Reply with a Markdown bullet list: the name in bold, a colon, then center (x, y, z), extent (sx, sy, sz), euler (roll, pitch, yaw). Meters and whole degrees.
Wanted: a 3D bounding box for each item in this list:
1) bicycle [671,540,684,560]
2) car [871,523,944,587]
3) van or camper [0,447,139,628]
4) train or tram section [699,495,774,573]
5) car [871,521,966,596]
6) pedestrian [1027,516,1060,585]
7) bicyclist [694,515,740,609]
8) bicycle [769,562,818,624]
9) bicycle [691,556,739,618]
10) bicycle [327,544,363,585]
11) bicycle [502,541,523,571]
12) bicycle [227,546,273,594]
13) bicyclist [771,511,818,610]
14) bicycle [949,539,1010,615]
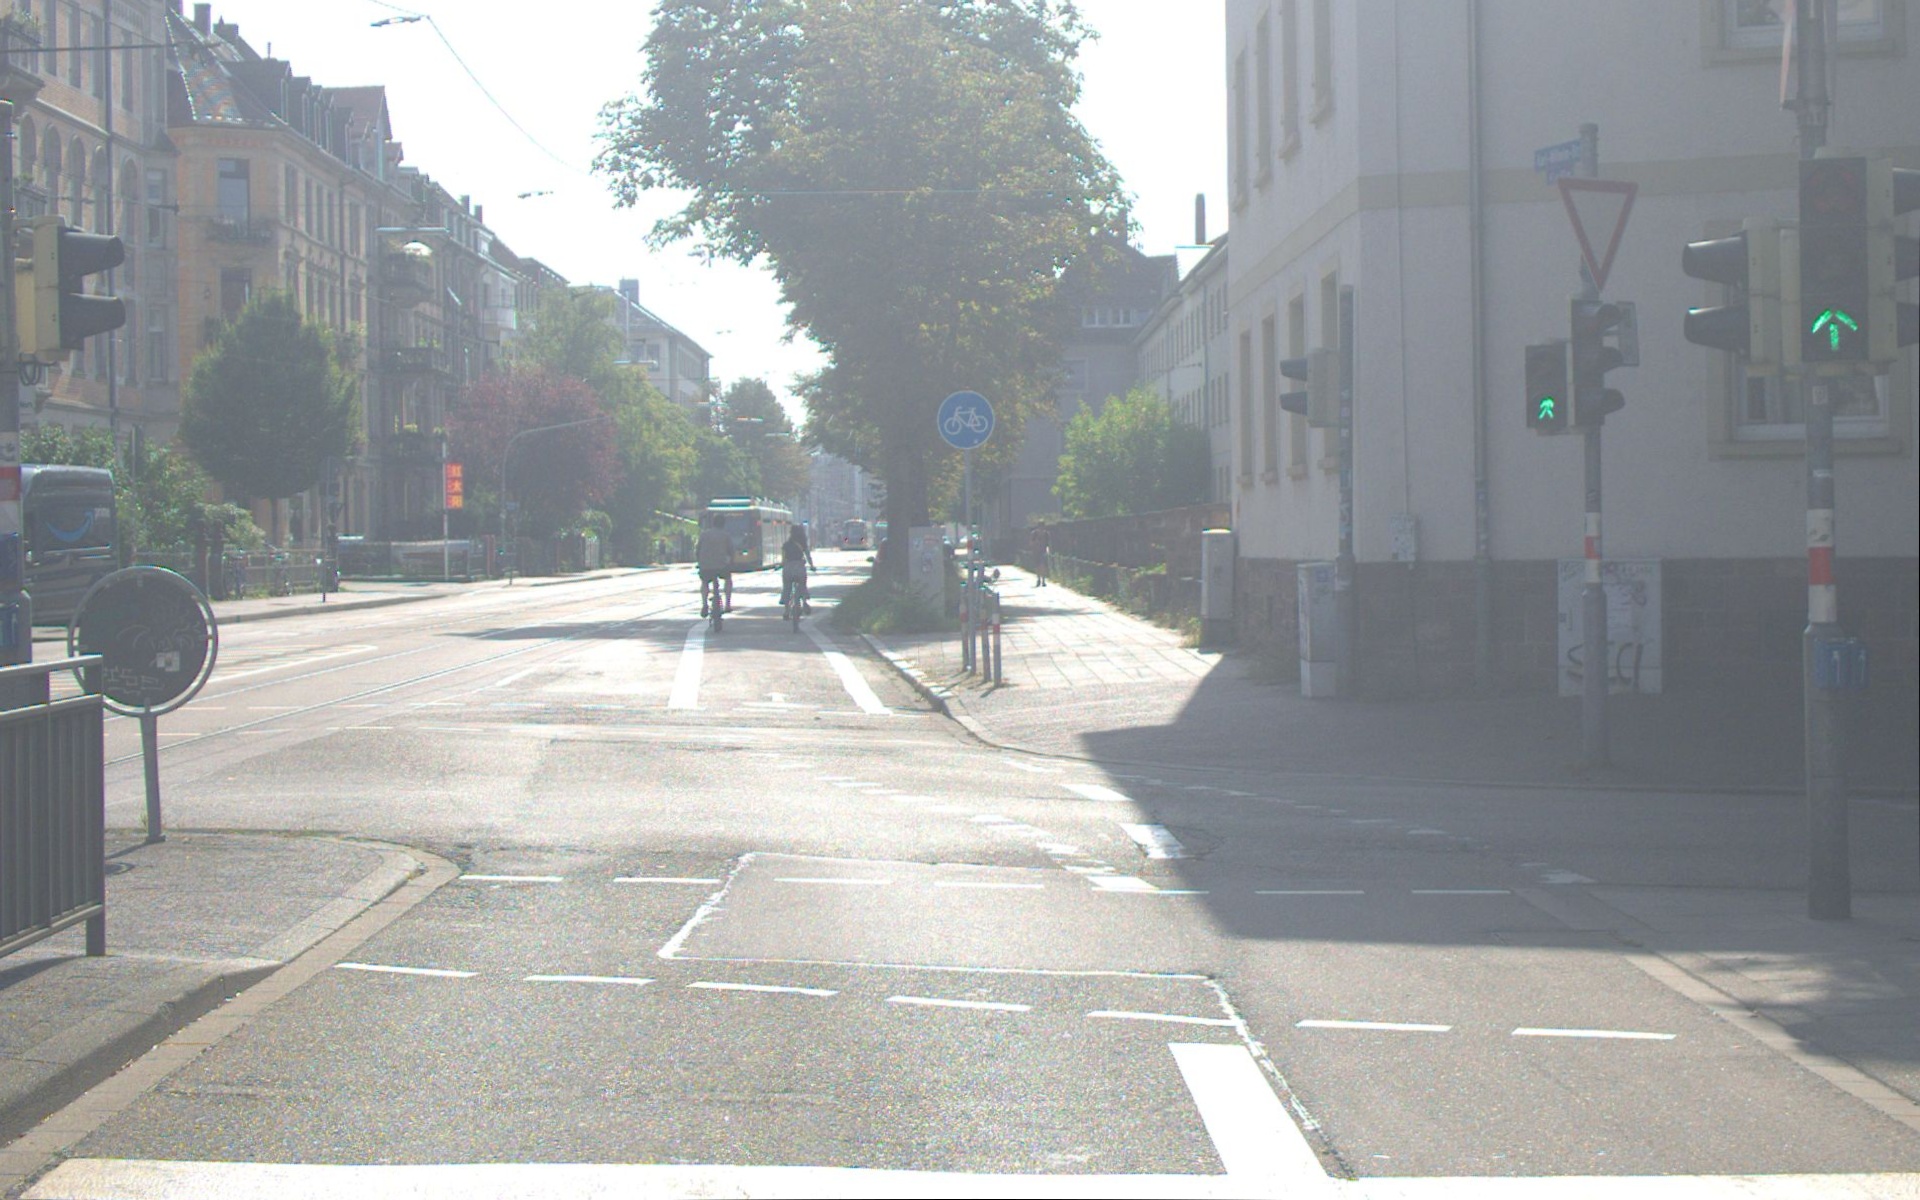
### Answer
- **bicycle**: center (-17.224, -3.034, 209.773), extent (0.561, 1.217, 2.113), euler (-1, 1, 2)
- **car**: center (-1.252, -1.090, 83.460), extent (1.645, 1.443, 4.246), euler (-2, 1, 0)
- **van or camper**: center (-14.671, -0.925, 52.691), extent (2.051, 2.635, 6.088), euler (-1, 1, 7)
- **train or tram section**: center (-10.462, -3.102, 161.979), extent (2.734, 3.493, 15.434), euler (0, 1, -1)
- **car**: center (-0.884, -0.923, 75.450), extent (1.645, 1.535, 3.841), euler (-2, 1, 5)
- **pedestrian**: center (2.112, -1.255, 86.823), extent (0.752, 1.743, 0.878), euler (0, 1, 6)
- **bicyclist**: center (-3.697, -0.583, 52.365), extent (0.626, 1.396, 0.929), euler (1, 1, -1)
- **bicycle**: center (-2.503, -0.111, 51.806), extent (0.654, 0.906, 1.775), euler (1, 1, -1)
- **bicycle**: center (-3.723, -0.204, 52.360), extent (0.626, 0.906, 1.525), euler (1, 1, -1)
- **bicycle**: center (-16.716, -0.977, 93.421), extent (0.545, 1.054, 1.839), euler (3, 1, 1)
- **bicycle**: center (-16.730, -1.665, 128.527), extent (0.508, 1.104, 2.003), euler (-1, 1, 0)
- **bicycle**: center (-16.618, -0.710, 80.463), extent (0.606, 1.054, 1.839), euler (3, 1, 1)
- **bicyclist**: center (-2.485, -0.595, 51.784), extent (0.654, 1.469, 0.909), euler (1, 1, -1)
- **bicycle**: center (0.284, -0.357, 51.707), extent (0.771, 1.100, 2.334), euler (-1, 1, -3)
